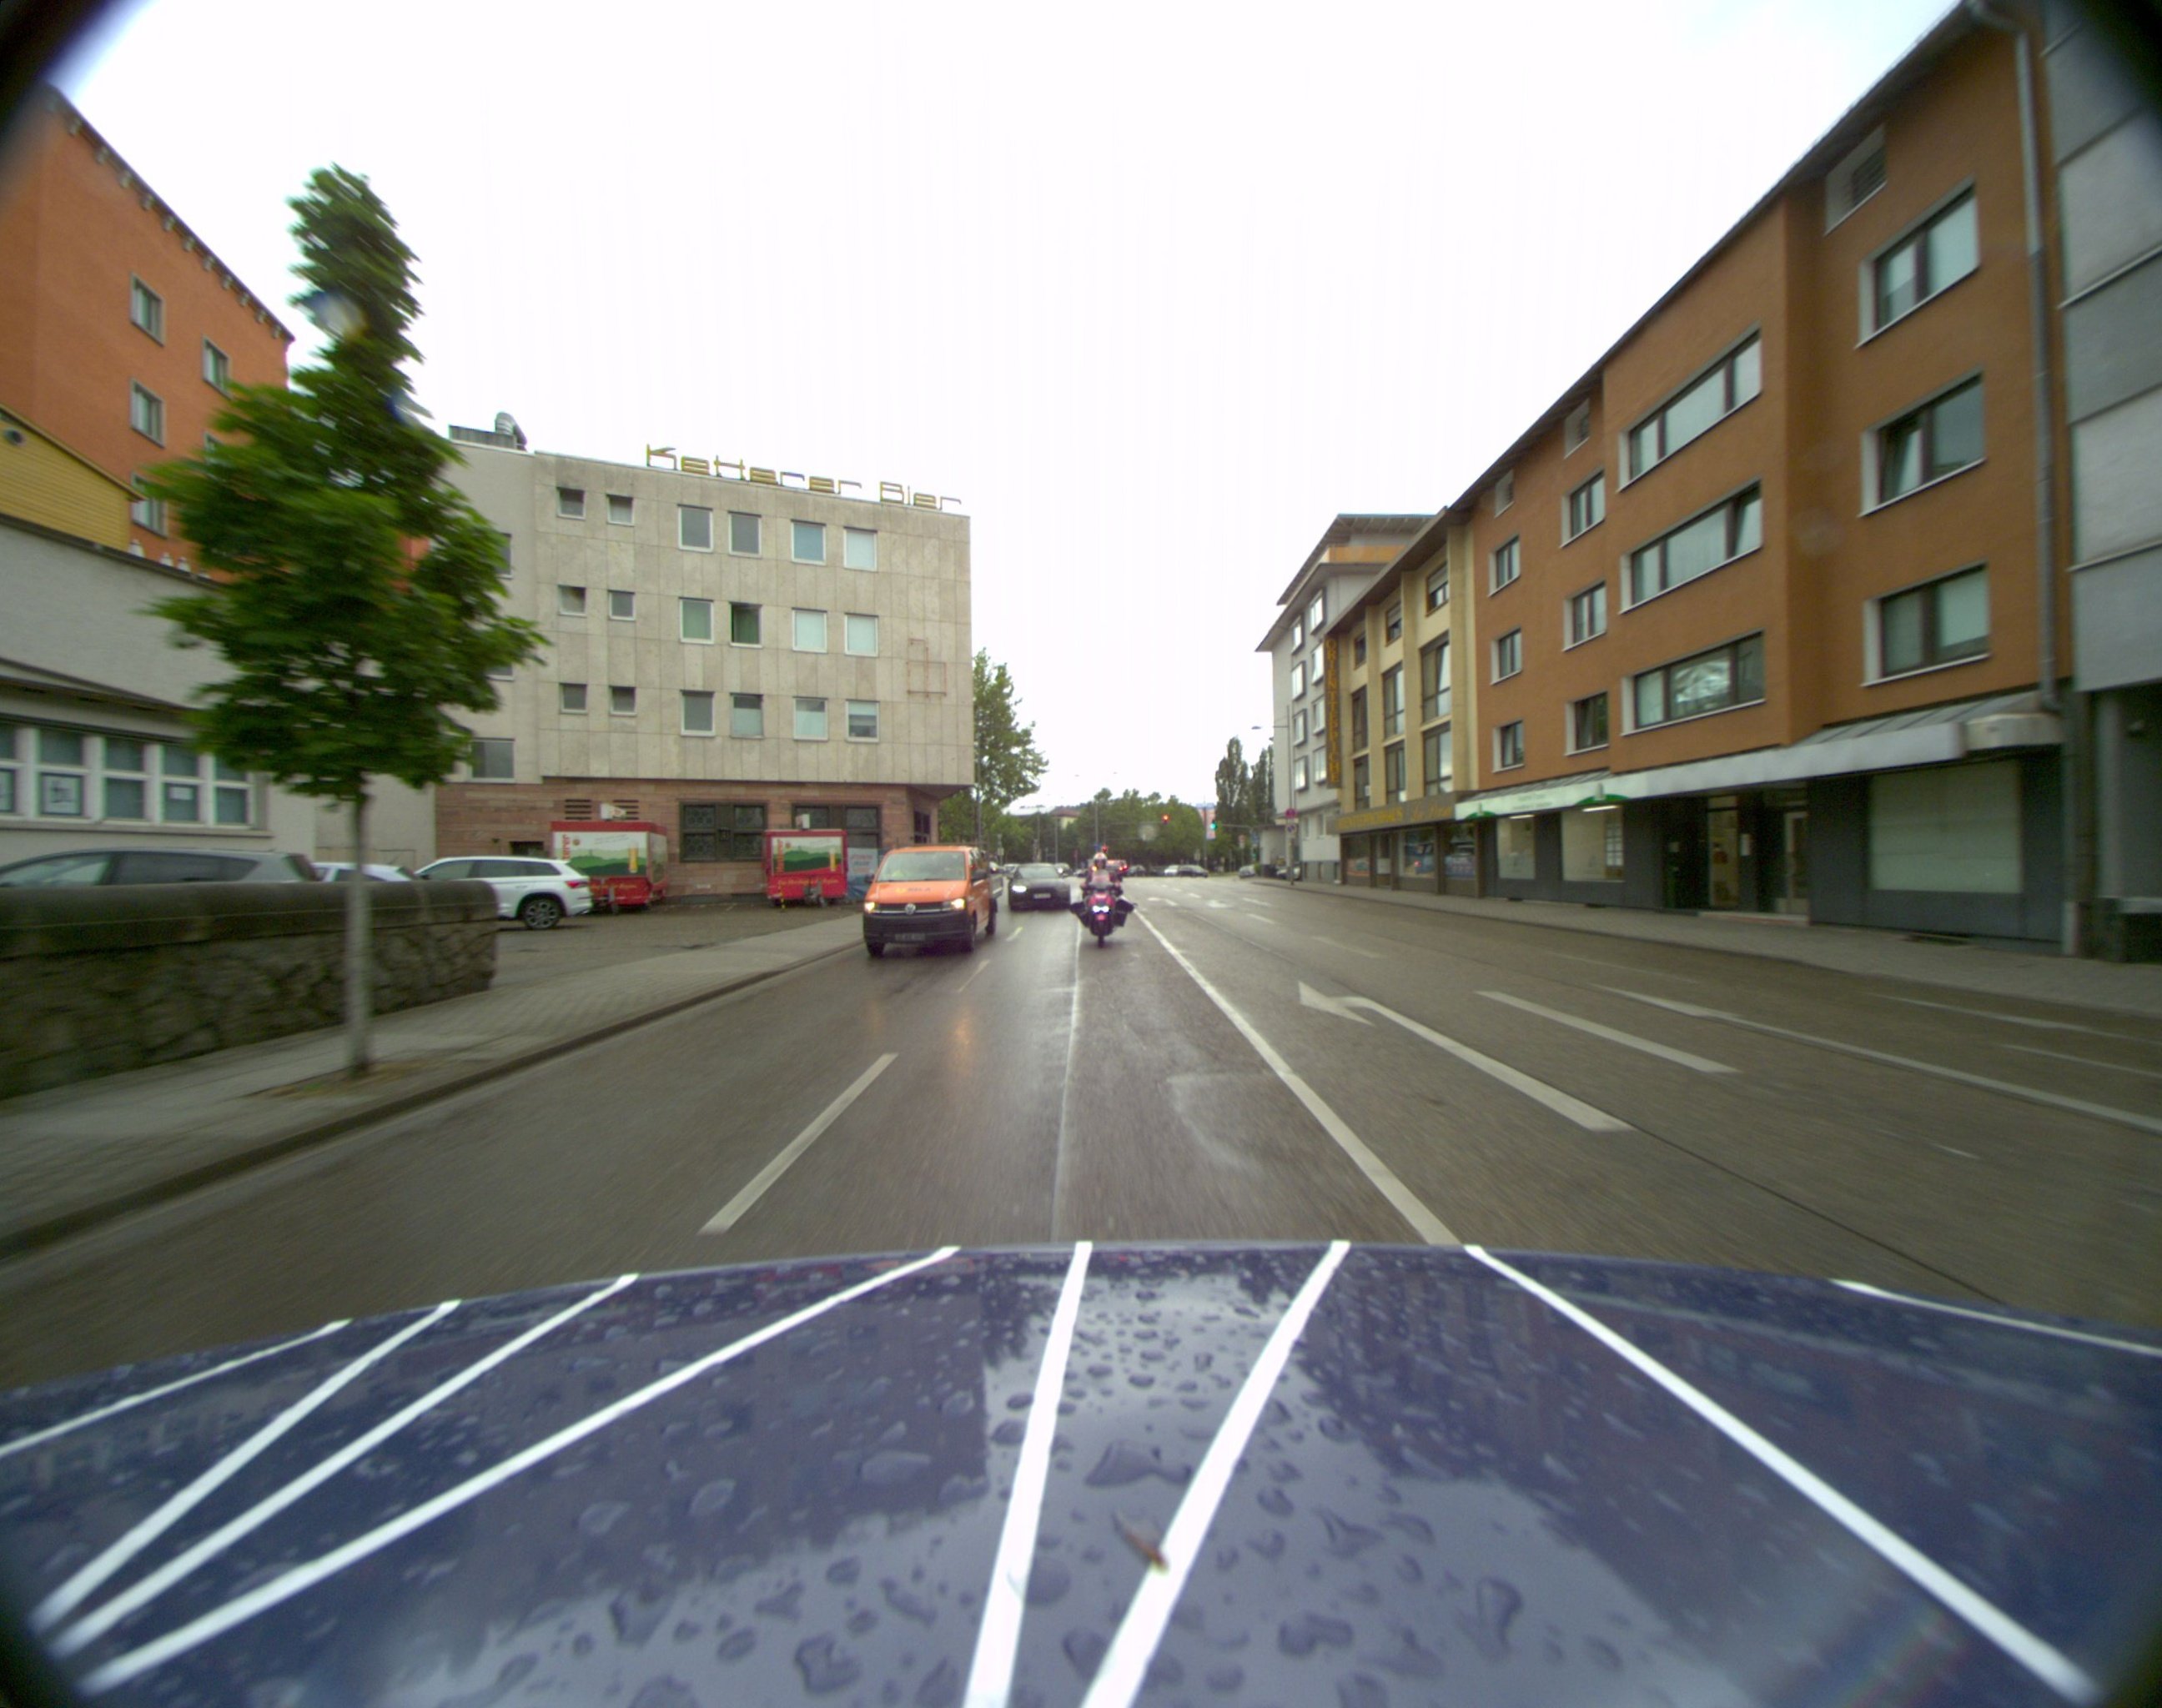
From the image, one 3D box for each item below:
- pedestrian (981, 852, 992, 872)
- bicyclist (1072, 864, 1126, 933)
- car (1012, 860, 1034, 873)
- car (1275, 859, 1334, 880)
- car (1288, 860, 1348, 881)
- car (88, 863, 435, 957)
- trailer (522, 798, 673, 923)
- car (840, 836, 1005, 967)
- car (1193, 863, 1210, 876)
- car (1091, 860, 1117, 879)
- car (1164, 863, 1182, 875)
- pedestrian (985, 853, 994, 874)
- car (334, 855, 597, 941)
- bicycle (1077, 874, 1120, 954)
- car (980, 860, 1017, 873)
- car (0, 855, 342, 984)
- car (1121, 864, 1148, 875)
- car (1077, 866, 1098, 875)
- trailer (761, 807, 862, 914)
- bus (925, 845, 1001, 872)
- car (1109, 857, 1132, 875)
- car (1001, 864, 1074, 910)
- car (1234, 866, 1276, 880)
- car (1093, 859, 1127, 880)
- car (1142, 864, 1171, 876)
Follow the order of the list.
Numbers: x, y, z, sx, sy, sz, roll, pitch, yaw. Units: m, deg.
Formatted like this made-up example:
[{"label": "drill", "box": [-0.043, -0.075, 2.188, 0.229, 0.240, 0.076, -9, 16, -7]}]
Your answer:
[{"label": "pedestrian", "box": [-8.527, 0.731, 68.634, 0.743, 1.819, 0.693, 3, -1, -15]}, {"label": "bicyclist", "box": [0.341, 0.799, 14.015, 0.963, 1.219, 0.715, -1, 1, 2]}, {"label": "car", "box": [-10.677, 2.293, 140.038, 1.968, 2.305, 5.023, 0, -1, 24]}, {"label": "car", "box": [16.802, 1.150, 57.236, 3.821, 1.413, 1.797, 2, 1, 1]}, {"label": "car", "box": [16.340, 1.127, 52.416, 3.632, 1.330, 1.495, 2, 0, -1]}, {"label": "car", "box": [-13.767, 0.889, 13.153, 3.848, 1.392, 1.640, 1, -2, -38]}, {"label": "trailer", "box": [-14.554, 0.171, 23.400, 2.753, 3.288, 6.061, -1, 0, -21]}, {"label": "car", "box": [-2.875, 0.793, 15.240, 2.107, 2.077, 5.541, -2, 0, 0]}, {"label": "car", "box": [13.969, 1.741, 88.376, 1.802, 1.425, 4.399, -2, -1, 7]}, {"label": "car", "box": [1.860, 1.269, 60.244, 1.558, 1.389, 3.730, -3, -2, 8]}, {"label": "car", "box": [12.456, 2.037, 102.371, 1.894, 1.566, 4.366, 1, 0, 14]}, {"label": "pedestrian", "box": [-8.814, 0.875, 72.795, 0.589, 2.001, 0.786, 2, -1, -24]}, {"label": "car", "box": [-13.315, 0.906, 16.709, 4.285, 1.639, 1.863, 1, -2, -40]}, {"label": "bicycle", "box": [0.351, 1.059, 14.241, 0.717, 1.298, 2.428, -1, 0, 3]}, {"label": "car", "box": [-8.695, 1.299, 80.281, 1.799, 1.366, 4.085, 1, 0, -42]}, {"label": "car", "box": [-13.127, 0.829, 10.444, 4.008, 1.573, 1.767, 1, -1, -35]}, {"label": "car", "box": [7.431, 2.116, 105.495, 1.892, 1.479, 4.370, 1, 0, 32]}, {"label": "car", "box": [1.077, 2.885, 130.031, 1.734, 1.431, 4.454, 0, -2, 27]}, {"label": "trailer", "box": [-9.186, 0.174, 25.530, 2.640, 3.158, 5.704, 0, 0, -25]}, {"label": "bus", "box": [-14.828, 0.508, 95.463, 9.632, 3.197, 2.711, 1, -1, 28]}, {"label": "car", "box": [3.749, 1.128, 71.622, 1.758, 1.604, 4.215, 0, -1, 9]}, {"label": "car", "box": [-1.577, 1.055, 25.885, 1.898, 1.396, 4.356, 0, 0, -11]}, {"label": "car", "box": [17.787, 1.967, 77.480, 4.117, 1.358, 1.730, 1, -2, -31]}, {"label": "car", "box": [2.009, 1.046, 53.092, 1.738, 1.431, 4.410, 0, 0, -6]}, {"label": "car", "box": [13.985, 2.911, 141.084, 4.839, 1.930, 1.954, -5, -2, 31]}]
